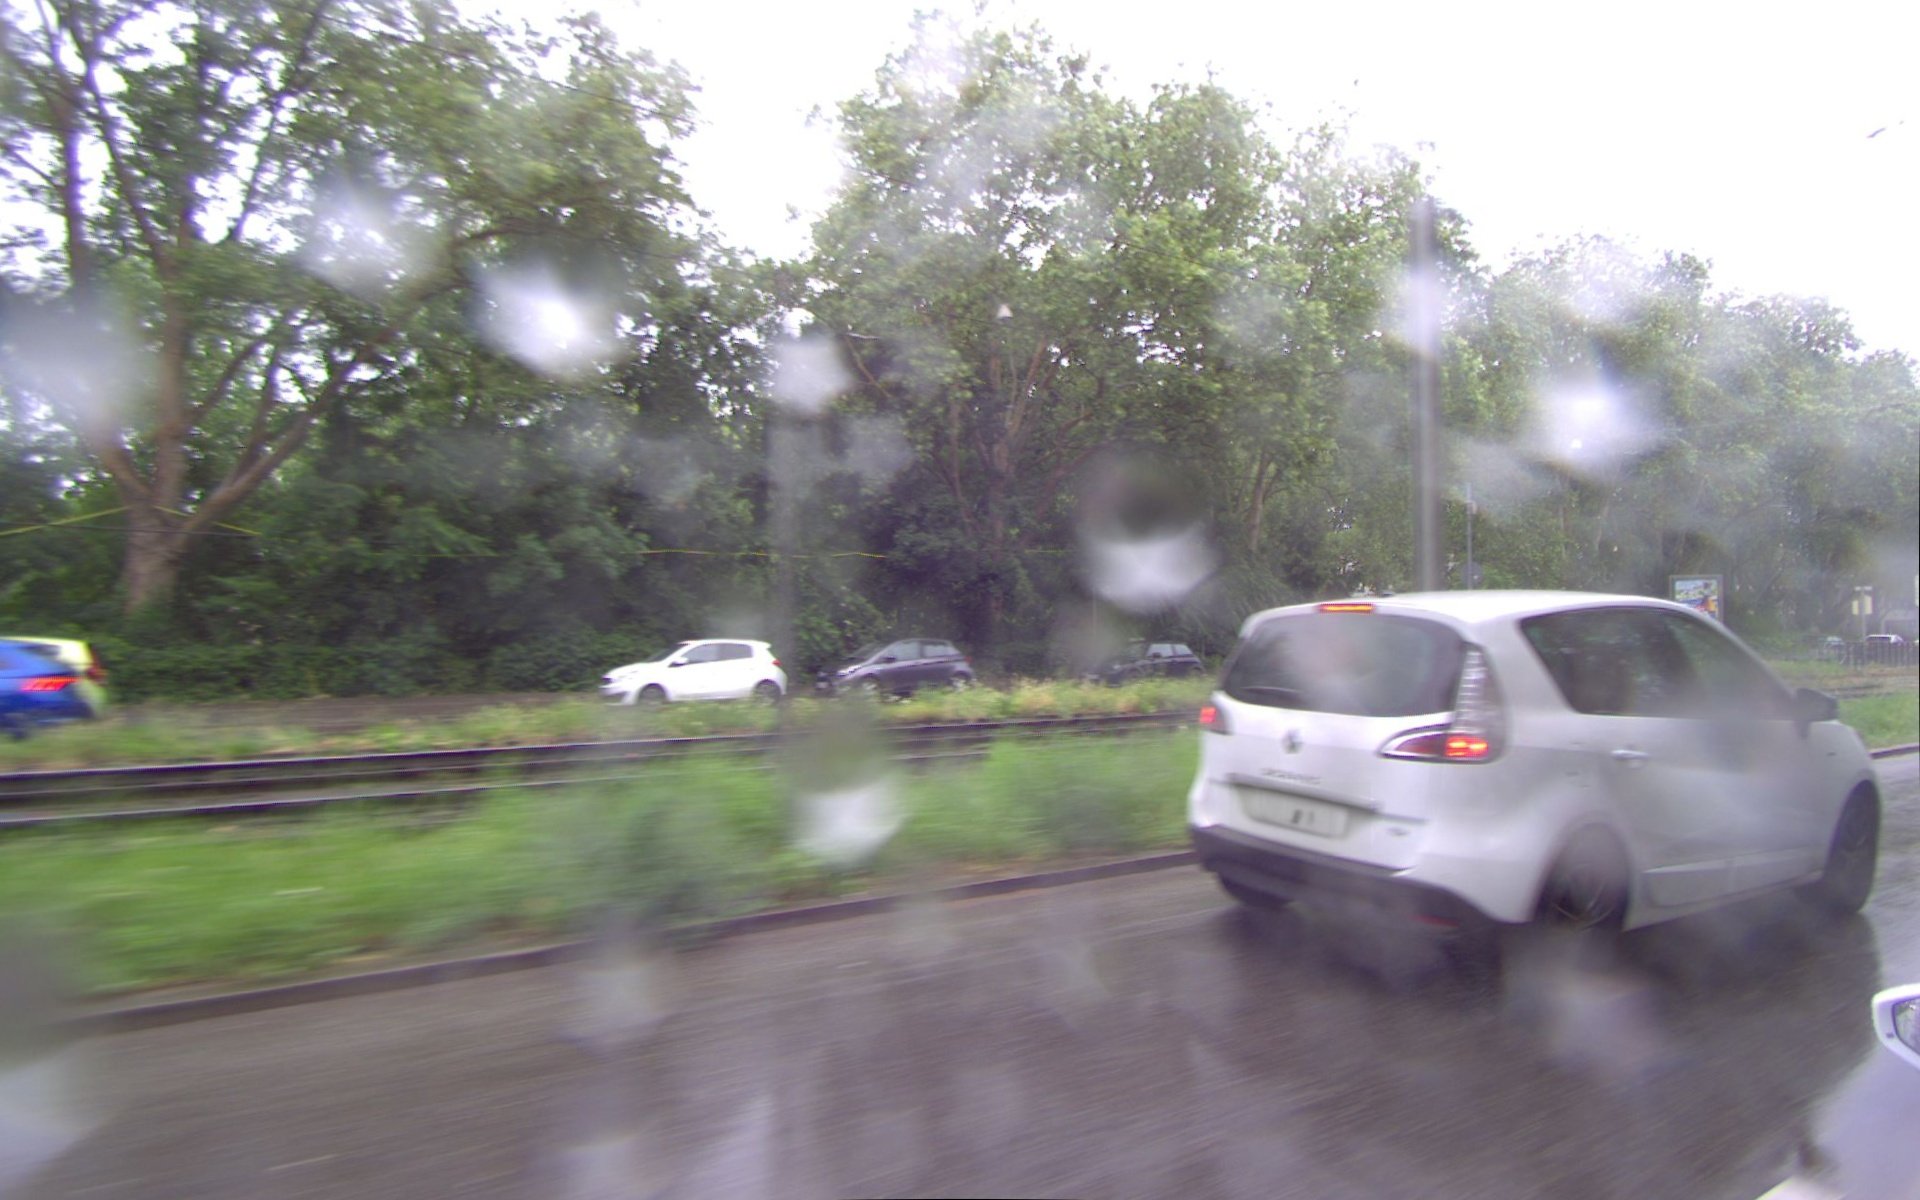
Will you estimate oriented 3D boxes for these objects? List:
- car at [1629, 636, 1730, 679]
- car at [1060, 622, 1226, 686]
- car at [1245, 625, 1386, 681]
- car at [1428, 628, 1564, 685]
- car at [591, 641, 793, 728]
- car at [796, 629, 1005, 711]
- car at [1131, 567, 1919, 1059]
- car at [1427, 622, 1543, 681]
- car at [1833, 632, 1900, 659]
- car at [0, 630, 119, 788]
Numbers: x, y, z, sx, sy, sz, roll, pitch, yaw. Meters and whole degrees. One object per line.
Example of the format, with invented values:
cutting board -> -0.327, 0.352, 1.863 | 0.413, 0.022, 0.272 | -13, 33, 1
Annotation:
car -> 29.239, 2.323, 40.794 | 4.234, 1.679, 2.019 | 2, -3, -35
car -> 5.240, 1.523, 28.581 | 4.563, 1.679, 2.019 | 2, -3, -34
car -> 11.549, 1.704, 32.577 | 4.563, 1.679, 2.019 | 2, -3, -34
car -> 17.091, 1.786, 31.979 | 4.350, 1.679, 2.002 | 2, -3, -34
car -> -5.622, 1.720, 21.232 | 3.774, 1.669, 1.750 | 2, -3, -34
car -> -1.374, 1.629, 24.017 | 4.646, 1.774, 2.019 | 2, -3, -34
car -> 3.136, 0.772, 5.229 | 4.212, 1.645, 1.856 | 2, -1, -30
car -> 20.218, 1.975, 38.601 | 4.758, 2.120, 2.018 | 2, -3, -36
car -> 54.042, 2.712, 59.855 | 3.955, 1.537, 1.924 | 1, -3, -32
car -> -12.665, 1.230, 11.304 | 4.646, 1.774, 2.019 | 2, -3, -34
